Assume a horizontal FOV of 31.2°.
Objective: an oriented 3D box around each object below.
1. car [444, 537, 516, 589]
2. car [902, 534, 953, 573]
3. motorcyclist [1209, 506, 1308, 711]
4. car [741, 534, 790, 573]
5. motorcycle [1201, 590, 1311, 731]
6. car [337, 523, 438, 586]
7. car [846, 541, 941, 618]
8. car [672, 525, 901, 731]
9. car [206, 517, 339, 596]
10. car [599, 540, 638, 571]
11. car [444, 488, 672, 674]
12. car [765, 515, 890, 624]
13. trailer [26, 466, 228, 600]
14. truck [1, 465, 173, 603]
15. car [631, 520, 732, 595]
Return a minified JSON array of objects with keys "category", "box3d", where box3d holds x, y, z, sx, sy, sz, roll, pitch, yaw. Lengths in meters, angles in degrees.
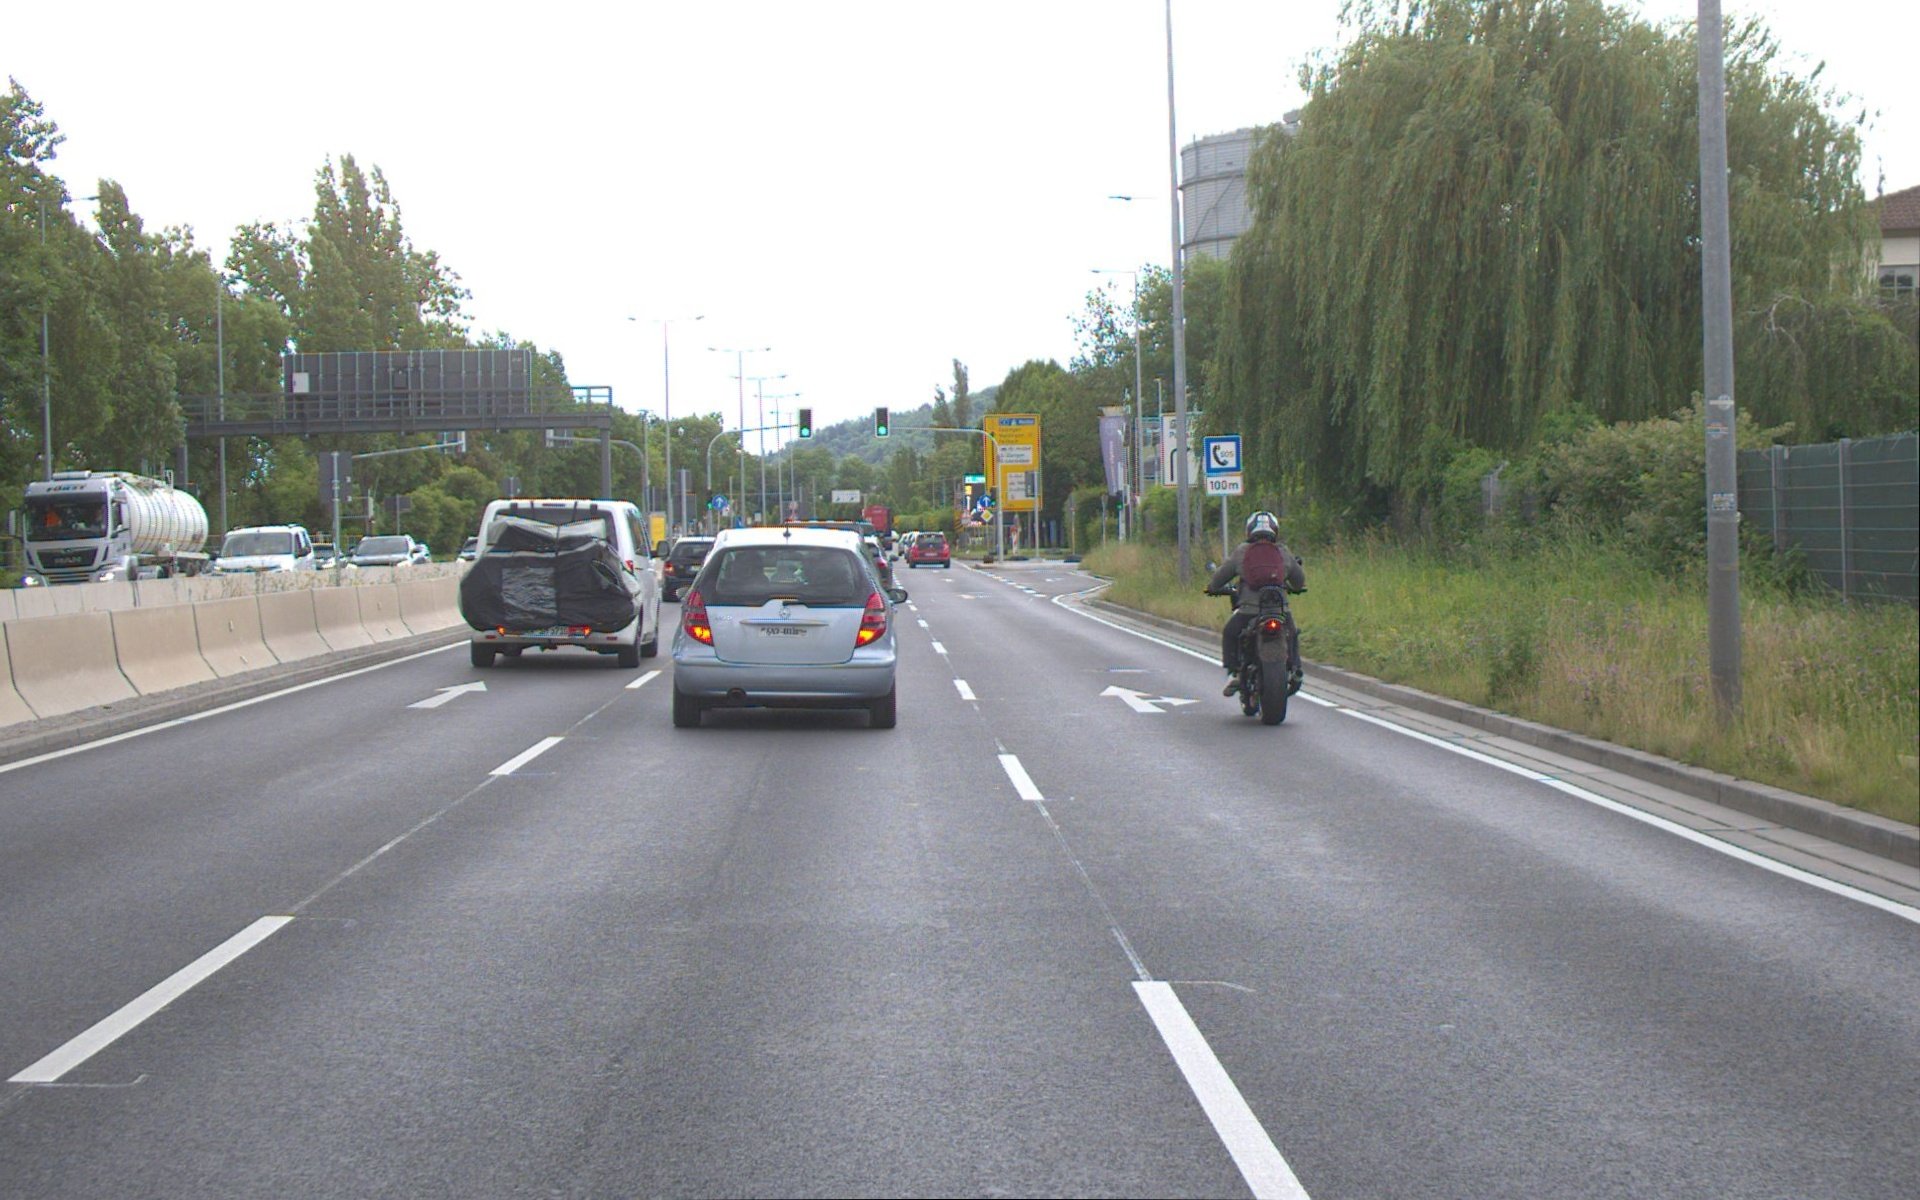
[{"category":"car","box3d":[-16.854,-1.305,120.853,1.993,1.733,4.000,1,1,-1]},{"category":"car","box3d":[-1.391,-1.973,145.651,1.993,1.546,4.001,1,1,-2]},{"category":"motorcyclist","box3d":[2.388,0.058,27.586,0.685,1.604,0.845,1,1,0]},{"category":"car","box3d":[-8.154,-1.951,144.314,1.993,1.546,4.001,1,1,-2]},{"category":"motorcycle","box3d":[2.363,0.468,27.649,0.706,1.036,2.027,1,1,0]},{"category":"car","box3d":[-15.478,-1.251,93.129,1.993,1.612,4.697,1,1,-1]},{"category":"car","box3d":[-1.364,-0.430,70.051,1.840,1.459,4.001,1,1,-1]},{"category":"car","box3d":[-1.382,0.173,28.189,1.710,1.525,4.001,1,1,-2]},{"category":"car","box3d":[-14.873,-0.973,74.564,1.993,1.612,4.697,1,1,-1]},{"category":"car","box3d":[-19.517,-2.559,196.751,1.877,1.677,4.126,1,1,-1]},{"category":"car","box3d":[-4.460,-0.263,38.849,2.214,1.919,5.003,1,1,-3]},{"category":"car","box3d":[-2.129,-0.521,56.150,1.907,1.678,4.000,1,1,-1]},{"category":"trailer","box3d":[-21.672,-1.783,90.143,3.100,3.209,11.670,1,1,-4]},{"category":"truck","box3d":[-21.324,-1.633,84.243,3.097,3.208,5.392,1,1,-3]},{"category":"car","box3d":[-6.029,-0.950,74.699,1.993,1.546,4.001,1,1,-2]}]
